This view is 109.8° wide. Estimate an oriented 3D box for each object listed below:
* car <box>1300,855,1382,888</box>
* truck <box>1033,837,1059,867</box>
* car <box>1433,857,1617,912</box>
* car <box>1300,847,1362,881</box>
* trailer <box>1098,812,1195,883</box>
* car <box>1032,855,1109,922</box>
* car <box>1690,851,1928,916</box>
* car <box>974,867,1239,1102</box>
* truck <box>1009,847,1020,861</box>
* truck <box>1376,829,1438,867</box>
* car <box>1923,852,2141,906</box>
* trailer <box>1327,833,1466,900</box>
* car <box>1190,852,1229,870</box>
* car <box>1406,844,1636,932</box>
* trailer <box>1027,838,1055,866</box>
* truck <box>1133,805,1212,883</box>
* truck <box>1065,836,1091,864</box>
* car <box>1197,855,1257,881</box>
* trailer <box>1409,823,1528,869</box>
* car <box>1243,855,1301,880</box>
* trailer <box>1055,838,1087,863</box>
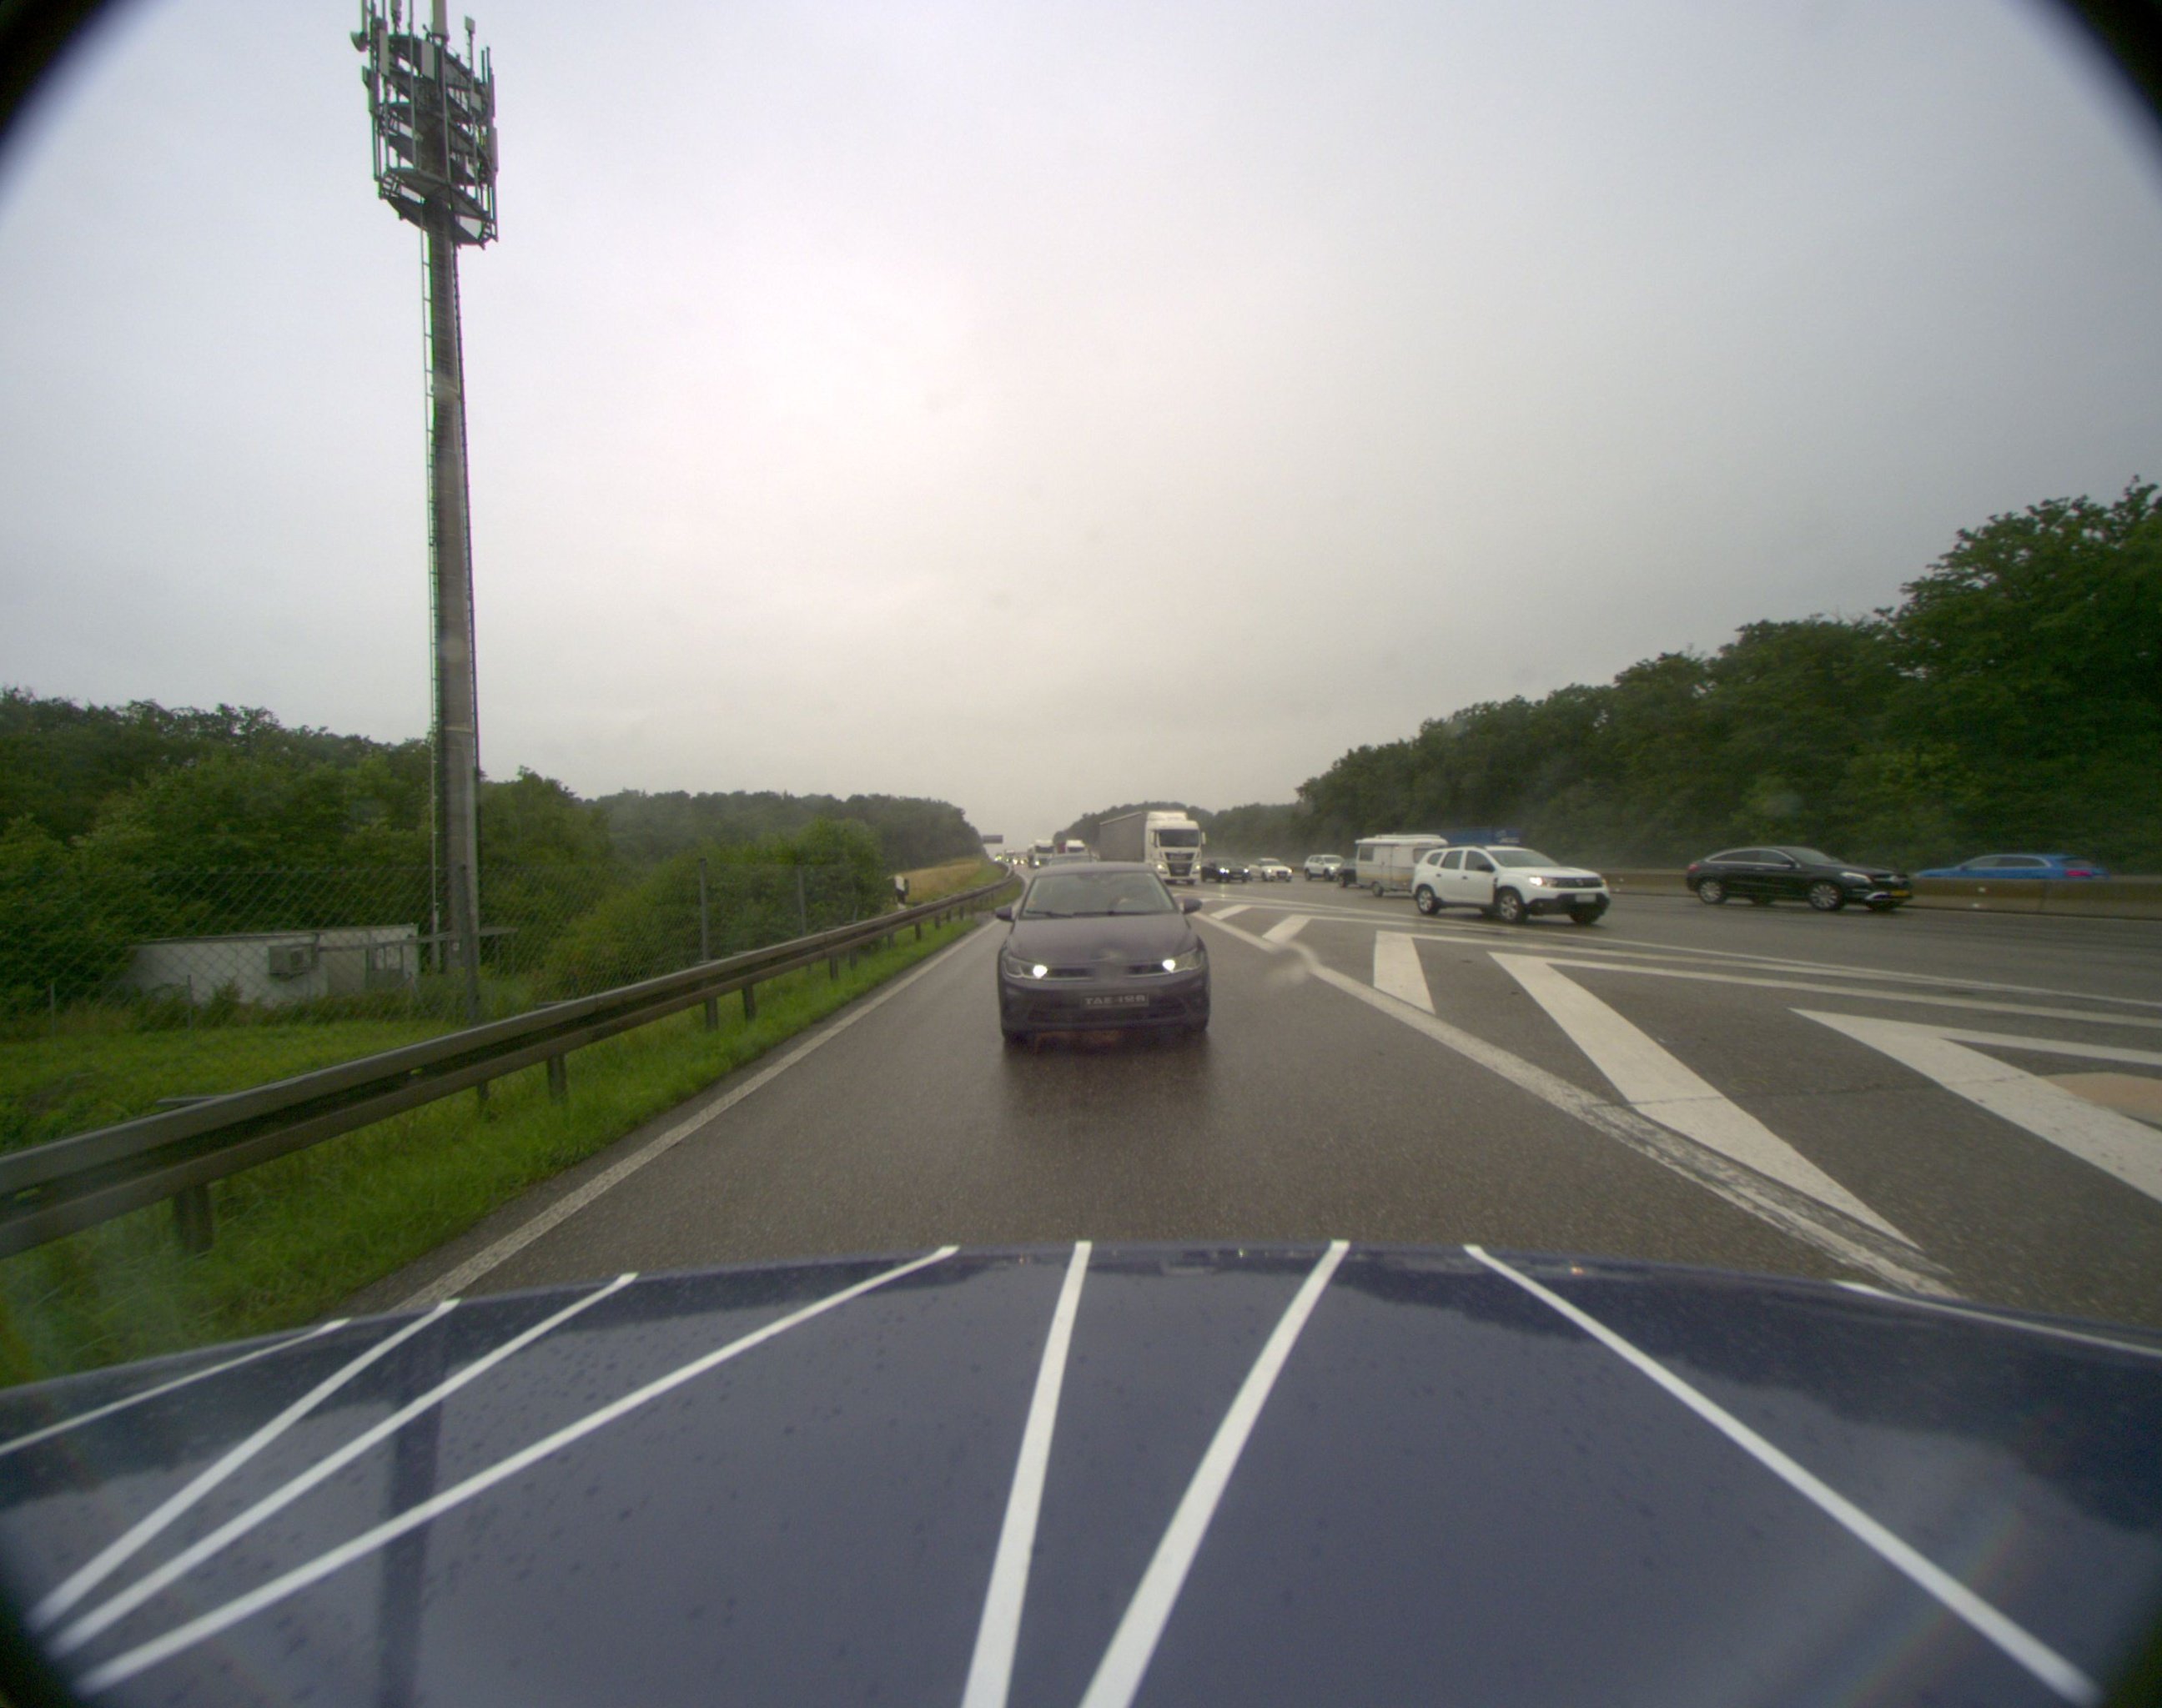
[{"bbox_3d":[13.069,0.853,38.498,2.000,1.531,4.524,0,0,-9],"label":"car"},{"bbox_3d":[-4.887,-0.294,105.651,2.759,3.985,6.502,0,0,-10],"label":"truck"},{"bbox_3d":[12.033,0.788,21.028,1.852,1.340,4.578,1,-1,-10],"label":"car"},{"bbox_3d":[15.799,0.619,48.242,1.942,2.002,3.996,-3,0,-11],"label":"car"},{"bbox_3d":[3.822,-0.299,49.317,2.905,3.959,14.107,0,0,-9],"label":"trailer"},{"bbox_3d":[-0.217,0.850,20.822,1.810,1.532,4.000,-4,0,1],"label":"car"},{"bbox_3d":[19.505,0.734,20.697,1.710,1.566,4.521,1,0,-10],"label":"car"},{"bbox_3d":[0.149,0.891,7.117,1.670,1.394,4.261,-3,0,-1],"label":"car"},{"bbox_3d":[-19.941,0.057,227.690,2.597,4.120,5.229,-3,0,-3],"label":"truck"},{"bbox_3d":[30.779,-0.568,71.999,2.770,3.395,5.706,-1,0,-8],"label":"truck"},{"bbox_3d":[33.180,0.805,26.740,2.000,1.709,4.364,0,0,-10],"label":"car"},{"bbox_3d":[11.110,0.432,27.284,2.136,2.143,5.175,1,-1,-10],"label":"trailer"},{"bbox_3d":[10.238,0.586,60.710,1.824,1.405,4.121,0,-2,-10],"label":"car"},{"bbox_3d":[8.857,0.643,15.812,1.792,1.576,4.320,1,-1,-10],"label":"car"},{"bbox_3d":[-6.021,-0.274,112.158,2.771,4.002,11.032,0,0,-10],"label":"trailer"},{"bbox_3d":[4.946,-0.481,42.226,2.882,4.028,5.929,0,0,-9],"label":"truck"},{"bbox_3d":[-0.472,-0.566,108.530,2.698,3.635,5.321,-4,1,-9],"label":"truck"},{"bbox_3d":[8.573,0.813,45.060,1.887,1.472,4.497,0,0,-12],"label":"car"},{"bbox_3d":[32.001,-0.590,63.502,2.741,3.397,11.390,-1,0,-8],"label":"trailer"},{"bbox_3d":[11.822,0.800,47.372,1.886,1.472,4.499,0,0,-9],"label":"car"},{"bbox_3d":[-1.762,-0.459,117.073,2.692,3.485,15.113,-4,0,-9],"label":"trailer"}]
